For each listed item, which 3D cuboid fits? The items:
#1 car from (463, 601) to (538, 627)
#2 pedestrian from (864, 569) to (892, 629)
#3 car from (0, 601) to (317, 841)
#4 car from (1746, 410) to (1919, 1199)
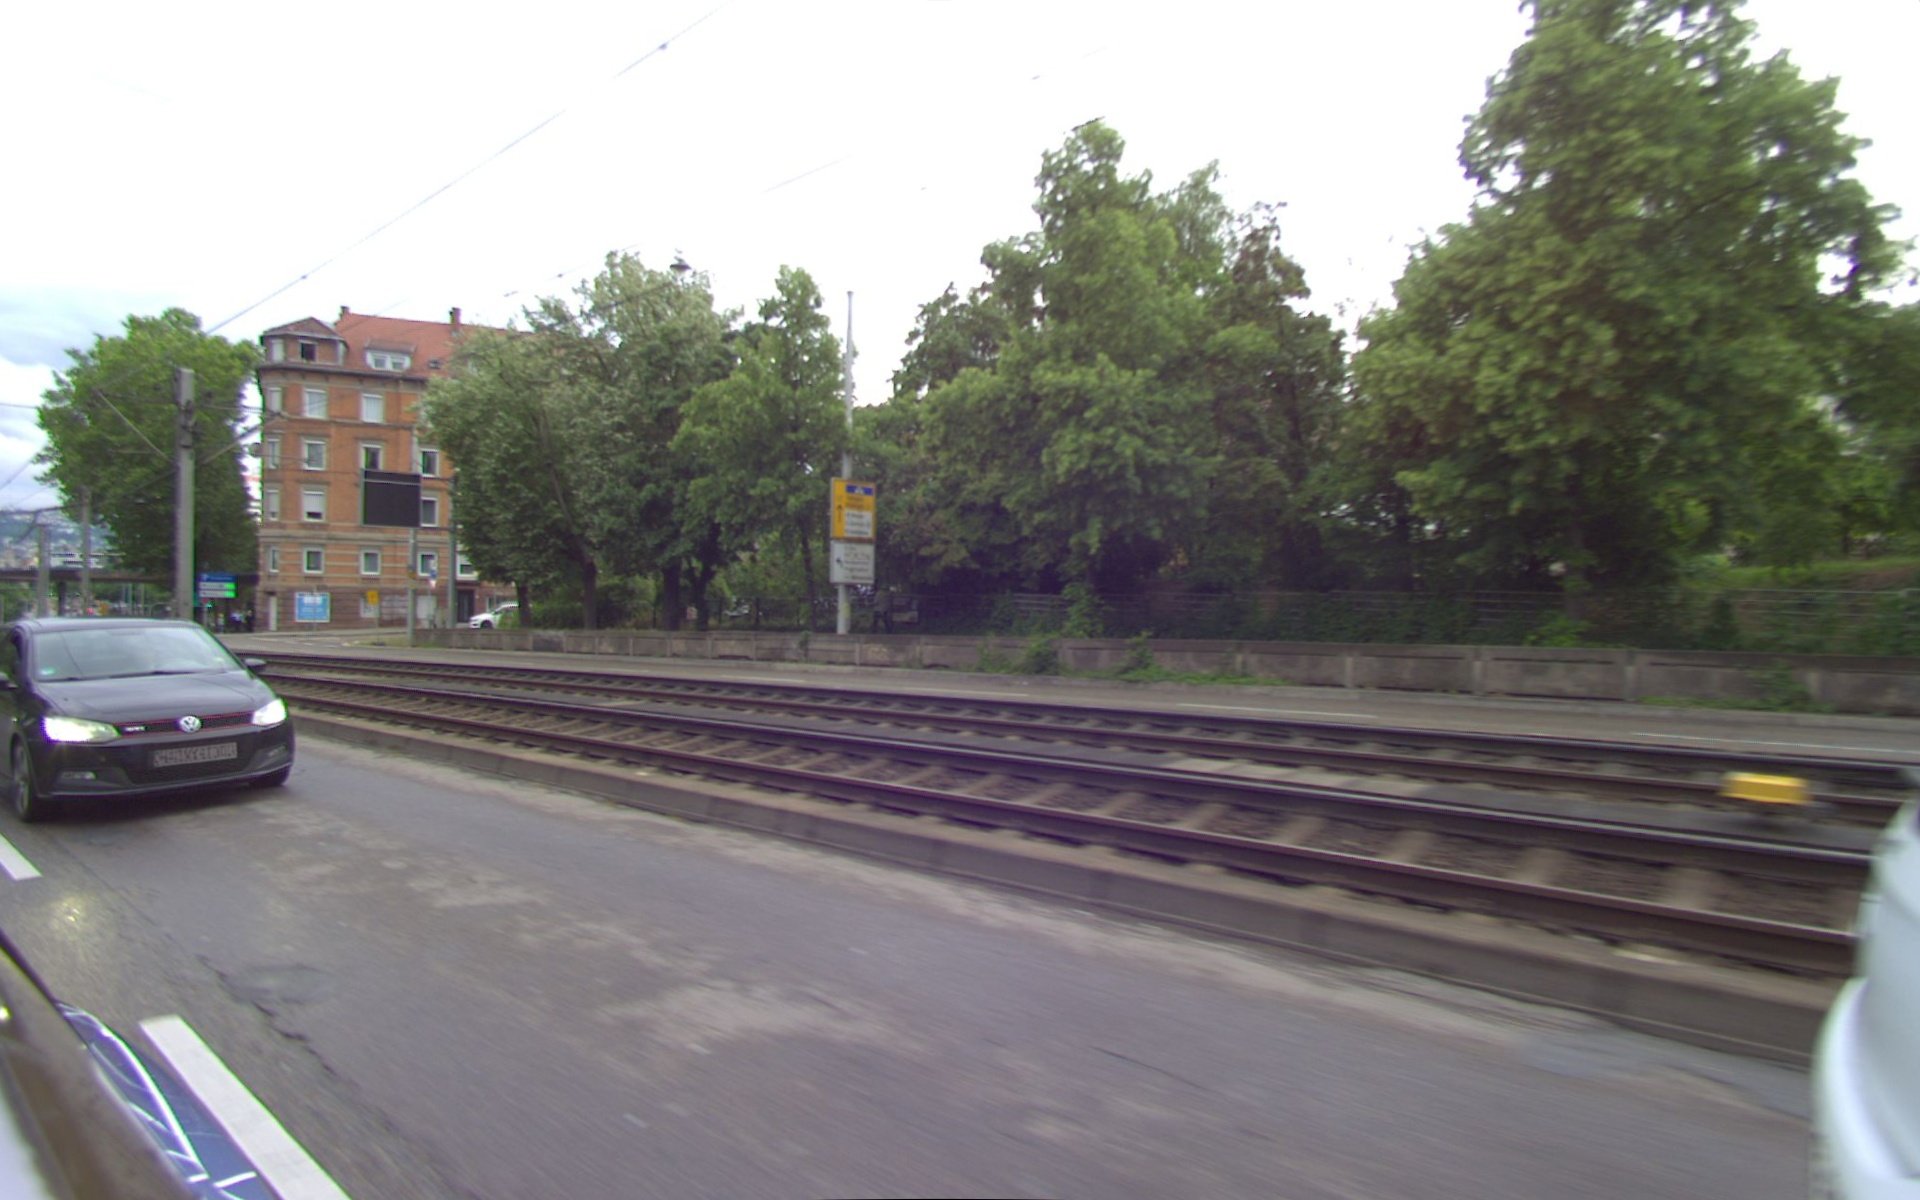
[{"bbox_3d":[-30.239,0.901,66.586,4.361,1.610,1.847,0,-1,-29],"label":"car"},{"bbox_3d":[-2.648,-0.032,32.664,0.653,1.917,0.590,-1,0,39],"label":"pedestrian"},{"bbox_3d":[-6.996,0.796,8.339,3.961,1.497,1.776,-1,0,40],"label":"car"},{"bbox_3d":[2.784,0.567,0.455,3.721,1.542,1.658,-1,-1,42],"label":"car"}]
